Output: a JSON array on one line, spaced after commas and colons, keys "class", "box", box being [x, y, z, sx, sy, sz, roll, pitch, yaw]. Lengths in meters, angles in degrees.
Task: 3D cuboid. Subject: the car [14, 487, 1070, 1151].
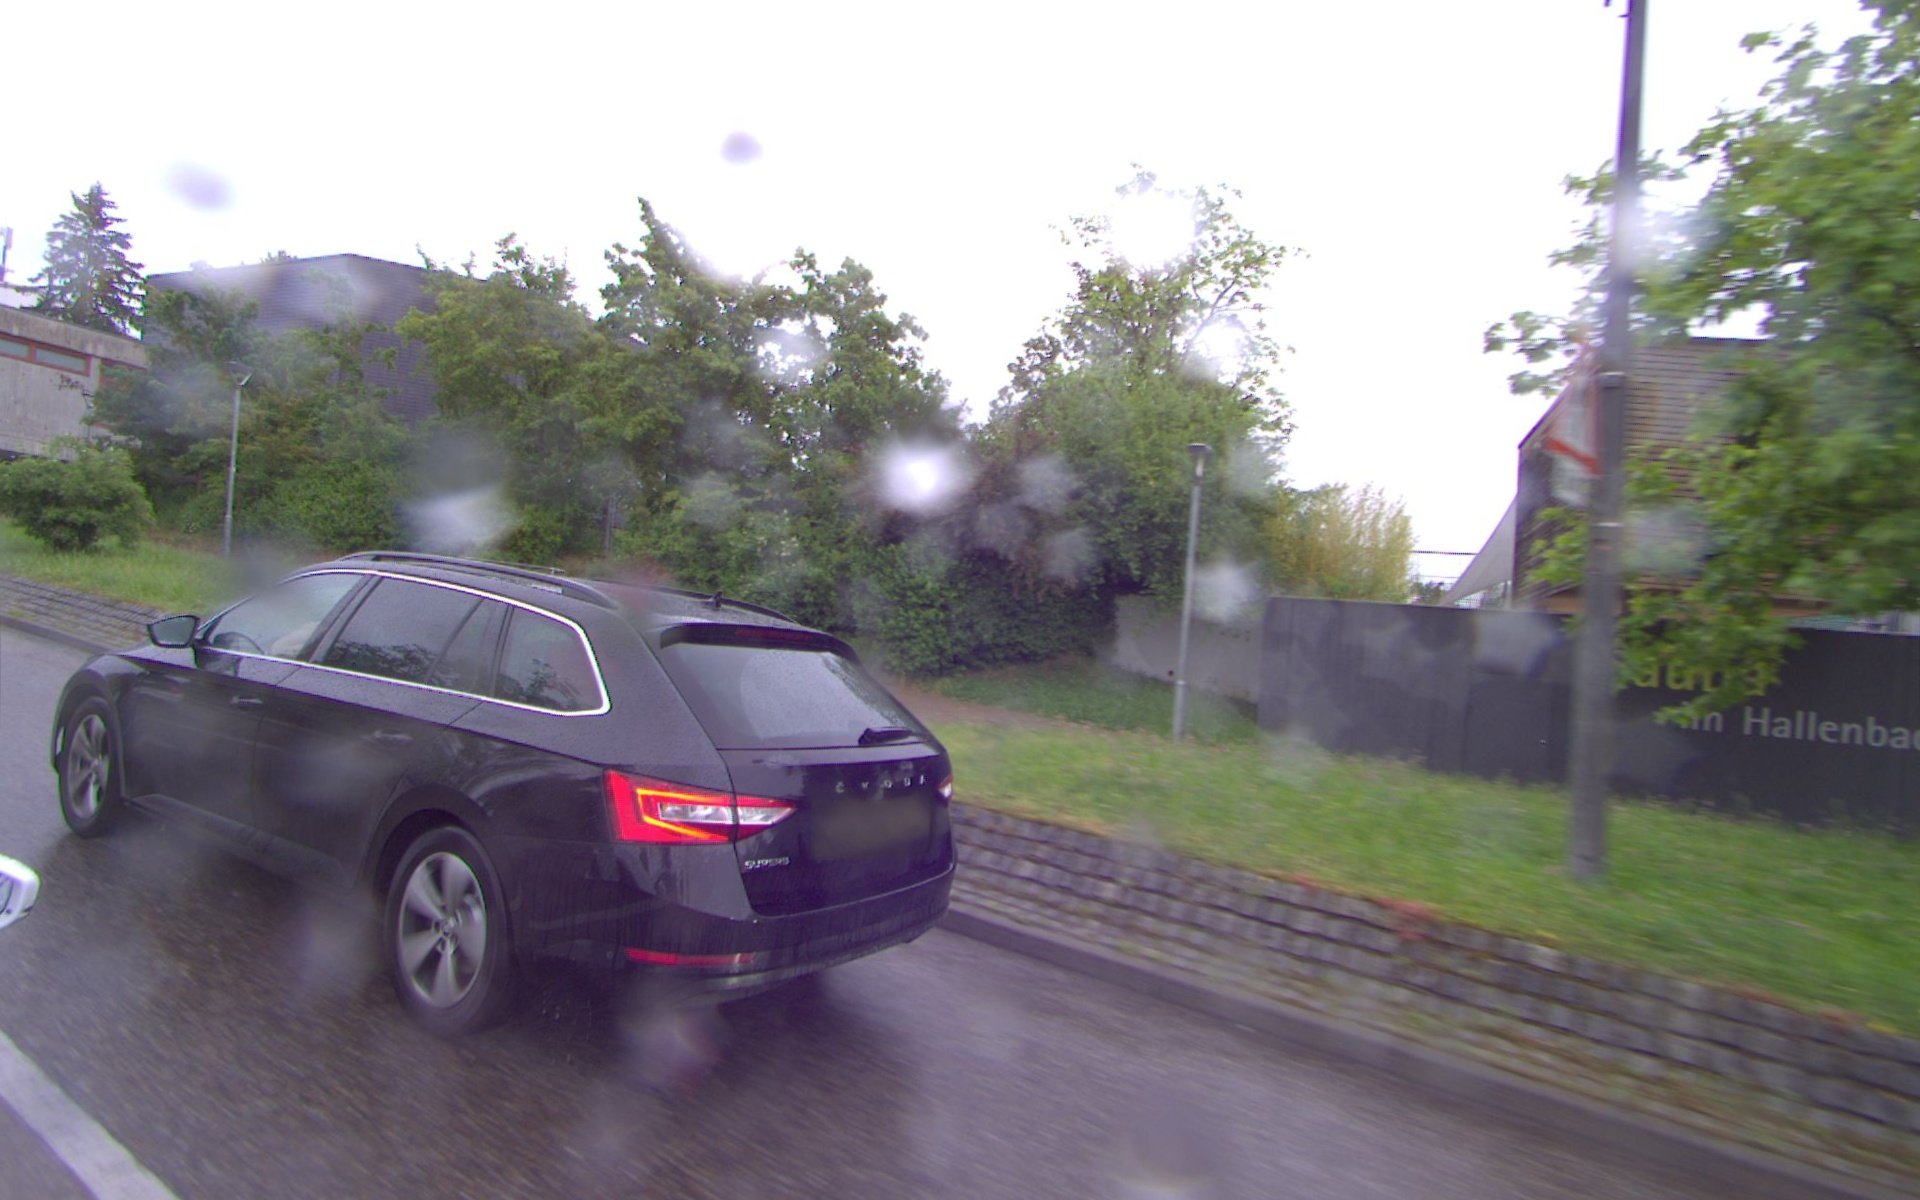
[{"class": "car", "box": [-2.050, 0.520, 4.511, 4.532, 1.523, 1.959, 6, -4, 32]}]
